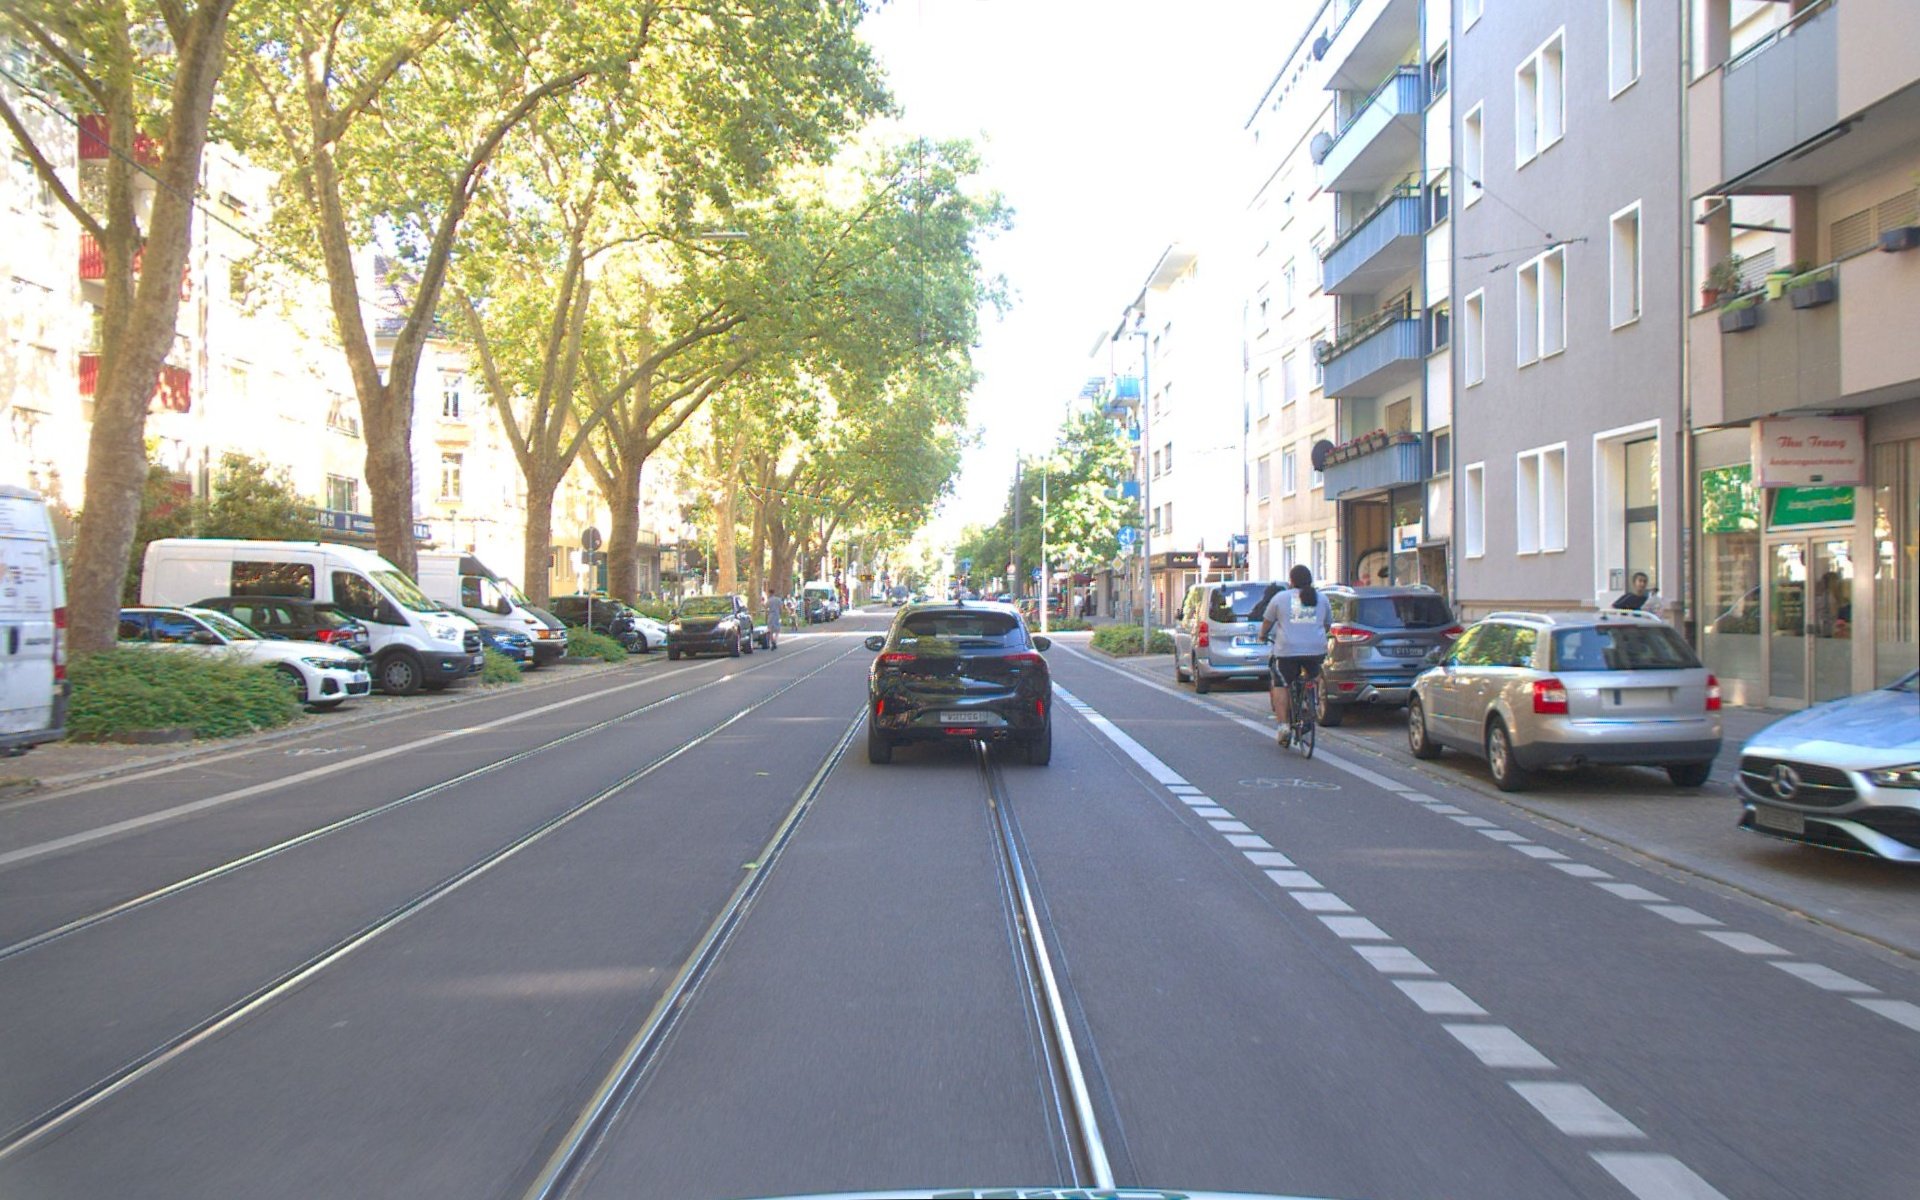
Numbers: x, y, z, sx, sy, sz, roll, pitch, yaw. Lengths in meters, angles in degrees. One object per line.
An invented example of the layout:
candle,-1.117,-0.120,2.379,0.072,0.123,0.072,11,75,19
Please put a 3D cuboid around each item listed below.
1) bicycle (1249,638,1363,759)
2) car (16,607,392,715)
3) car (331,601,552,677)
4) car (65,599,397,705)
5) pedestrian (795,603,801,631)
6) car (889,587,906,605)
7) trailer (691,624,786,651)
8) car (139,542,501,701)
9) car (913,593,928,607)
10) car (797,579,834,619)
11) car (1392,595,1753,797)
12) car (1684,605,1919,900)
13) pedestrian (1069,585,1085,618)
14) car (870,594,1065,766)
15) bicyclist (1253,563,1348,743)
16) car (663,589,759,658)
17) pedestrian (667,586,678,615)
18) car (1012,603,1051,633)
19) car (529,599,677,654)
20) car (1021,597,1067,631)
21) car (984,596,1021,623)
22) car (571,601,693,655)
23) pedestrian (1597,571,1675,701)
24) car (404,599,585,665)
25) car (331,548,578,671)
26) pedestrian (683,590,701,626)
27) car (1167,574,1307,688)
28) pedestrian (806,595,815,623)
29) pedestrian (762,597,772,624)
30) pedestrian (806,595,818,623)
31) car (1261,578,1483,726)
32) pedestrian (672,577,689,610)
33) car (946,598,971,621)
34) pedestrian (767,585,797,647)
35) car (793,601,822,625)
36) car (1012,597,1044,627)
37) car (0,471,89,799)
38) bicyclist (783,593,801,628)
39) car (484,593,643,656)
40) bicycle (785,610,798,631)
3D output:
bicycle,3.499,0.971,16.882,0.687,1.111,1.989,2,-1,-1
car,-10.376,0.813,22.960,4.320,1.409,1.933,0,0,-1
car,-10.580,0.778,33.932,3.937,1.491,1.872,0,0,0
car,-11.164,0.773,25.536,4.282,1.566,1.872,0,0,-1
pedestrian,-9.408,1.008,96.139,0.339,1.610,0.508,0,0,-2
car,-8.045,-0.505,213.731,1.954,2.250,5.097,0,0,-5
trailer,-6.731,1.130,50.886,2.117,0.643,6.399,0,0,-1
car,-10.623,0.343,27.755,5.251,2.521,2.057,0,0,-1
car,-4.683,-0.033,196.752,1.714,1.680,4.000,0,0,1
car,-9.725,-0.072,111.913,2.050,2.629,5.995,0,0,-1
car,5.344,0.739,15.093,1.689,1.552,4.513,0,0,1
car,7.001,0.742,10.040,4.532,1.462,1.859,-2,0,-12
pedestrian,6.372,0.069,90.151,0.751,1.779,0.796,0,0,13
car,0.033,0.692,16.030,1.645,1.447,3.627,1,0,-1
bicyclist,3.462,0.529,16.884,0.770,1.790,0.914,0,0,-1
car,-6.765,0.615,45.446,1.953,1.729,4.484,-2,0,-1
pedestrian,-17.111,0.034,98.408,0.540,1.681,0.649,-1,0,3
car,3.679,0.907,85.386,1.683,1.516,3.680,0,0,-2
car,-10.259,0.750,47.741,3.906,1.548,1.770,0,0,-2
car,4.022,0.666,79.841,1.684,1.601,4.081,0,0,-4
car,2.643,0.582,104.266,1.954,1.668,3.996,0,0,-5
car,-9.827,0.822,49.705,3.363,1.557,1.786,0,0,-4
pedestrian,9.257,0.485,22.671,0.741,1.750,0.720,0,0,-2
car,-10.981,0.744,39.225,3.777,1.504,1.860,0,0,-2
car,-11.088,0.196,36.587,4.846,2.612,2.081,0,0,-4
pedestrian,-14.059,0.419,86.672,0.887,1.901,0.643,0,0,-6
car,4.978,0.515,30.379,1.820,1.923,4.925,0,0,1
pedestrian,-8.684,0.519,96.028,0.496,1.610,0.526,0,0,-1
pedestrian,-11.215,0.608,96.030,0.499,1.610,0.524,0,0,-18
pedestrian,-8.641,0.542,96.674,0.670,1.610,0.557,0,0,-3
car,5.248,0.610,21.636,1.731,1.734,4.282,0,0,-1
pedestrian,-14.447,-0.342,85.481,0.830,1.661,0.643,0,0,-6
car,-0.088,0.692,125.828,1.820,1.680,4.000,0,0,1
pedestrian,-5.248,0.462,48.704,0.696,1.765,0.913,-2,0,2
car,-9.755,0.816,105.870,1.719,1.534,3.997,0,0,-4
car,3.656,0.619,89.427,1.617,1.601,3.084,0,0,1
car,-10.356,0.258,13.216,5.623,2.580,2.162,0,0,-1
bicyclist,-8.110,0.501,79.907,0.769,1.707,0.957,0,0,-3
car,-10.748,0.651,45.046,3.906,1.676,1.893,0,0,-2
bicycle,-8.164,0.987,80.032,0.510,0.979,1.928,0,0,-2
